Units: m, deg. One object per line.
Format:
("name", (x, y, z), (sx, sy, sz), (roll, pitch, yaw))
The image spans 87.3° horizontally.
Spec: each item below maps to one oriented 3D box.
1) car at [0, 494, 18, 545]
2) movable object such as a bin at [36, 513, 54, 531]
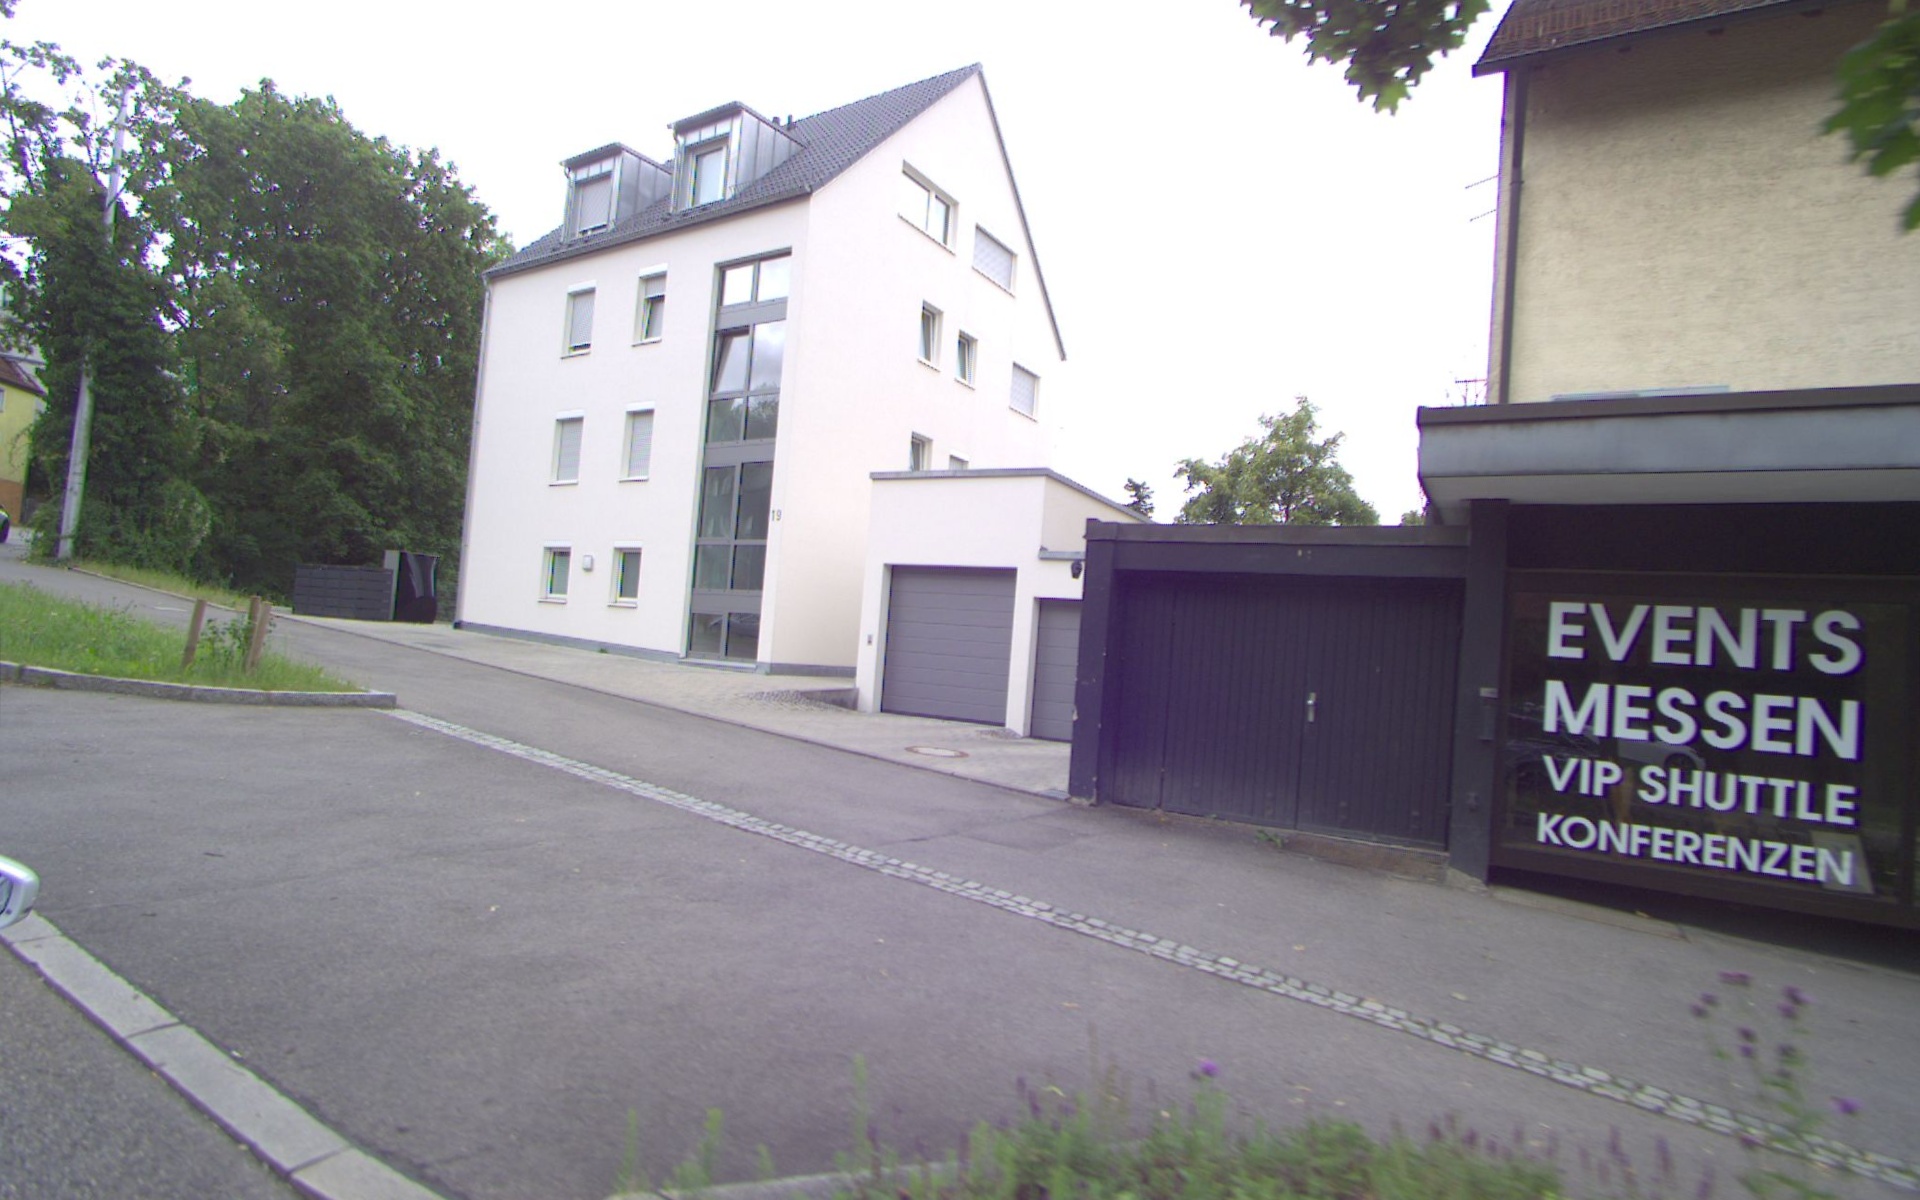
("car", (-30.409, -2.614, 30.379), (1.766, 1.597, 3.972), (9, -2, -29))
("movable object such as a bin", (-52.996, -4.512, 58.286), (0.563, 0.895, 0.606), (9, -1, -29))
